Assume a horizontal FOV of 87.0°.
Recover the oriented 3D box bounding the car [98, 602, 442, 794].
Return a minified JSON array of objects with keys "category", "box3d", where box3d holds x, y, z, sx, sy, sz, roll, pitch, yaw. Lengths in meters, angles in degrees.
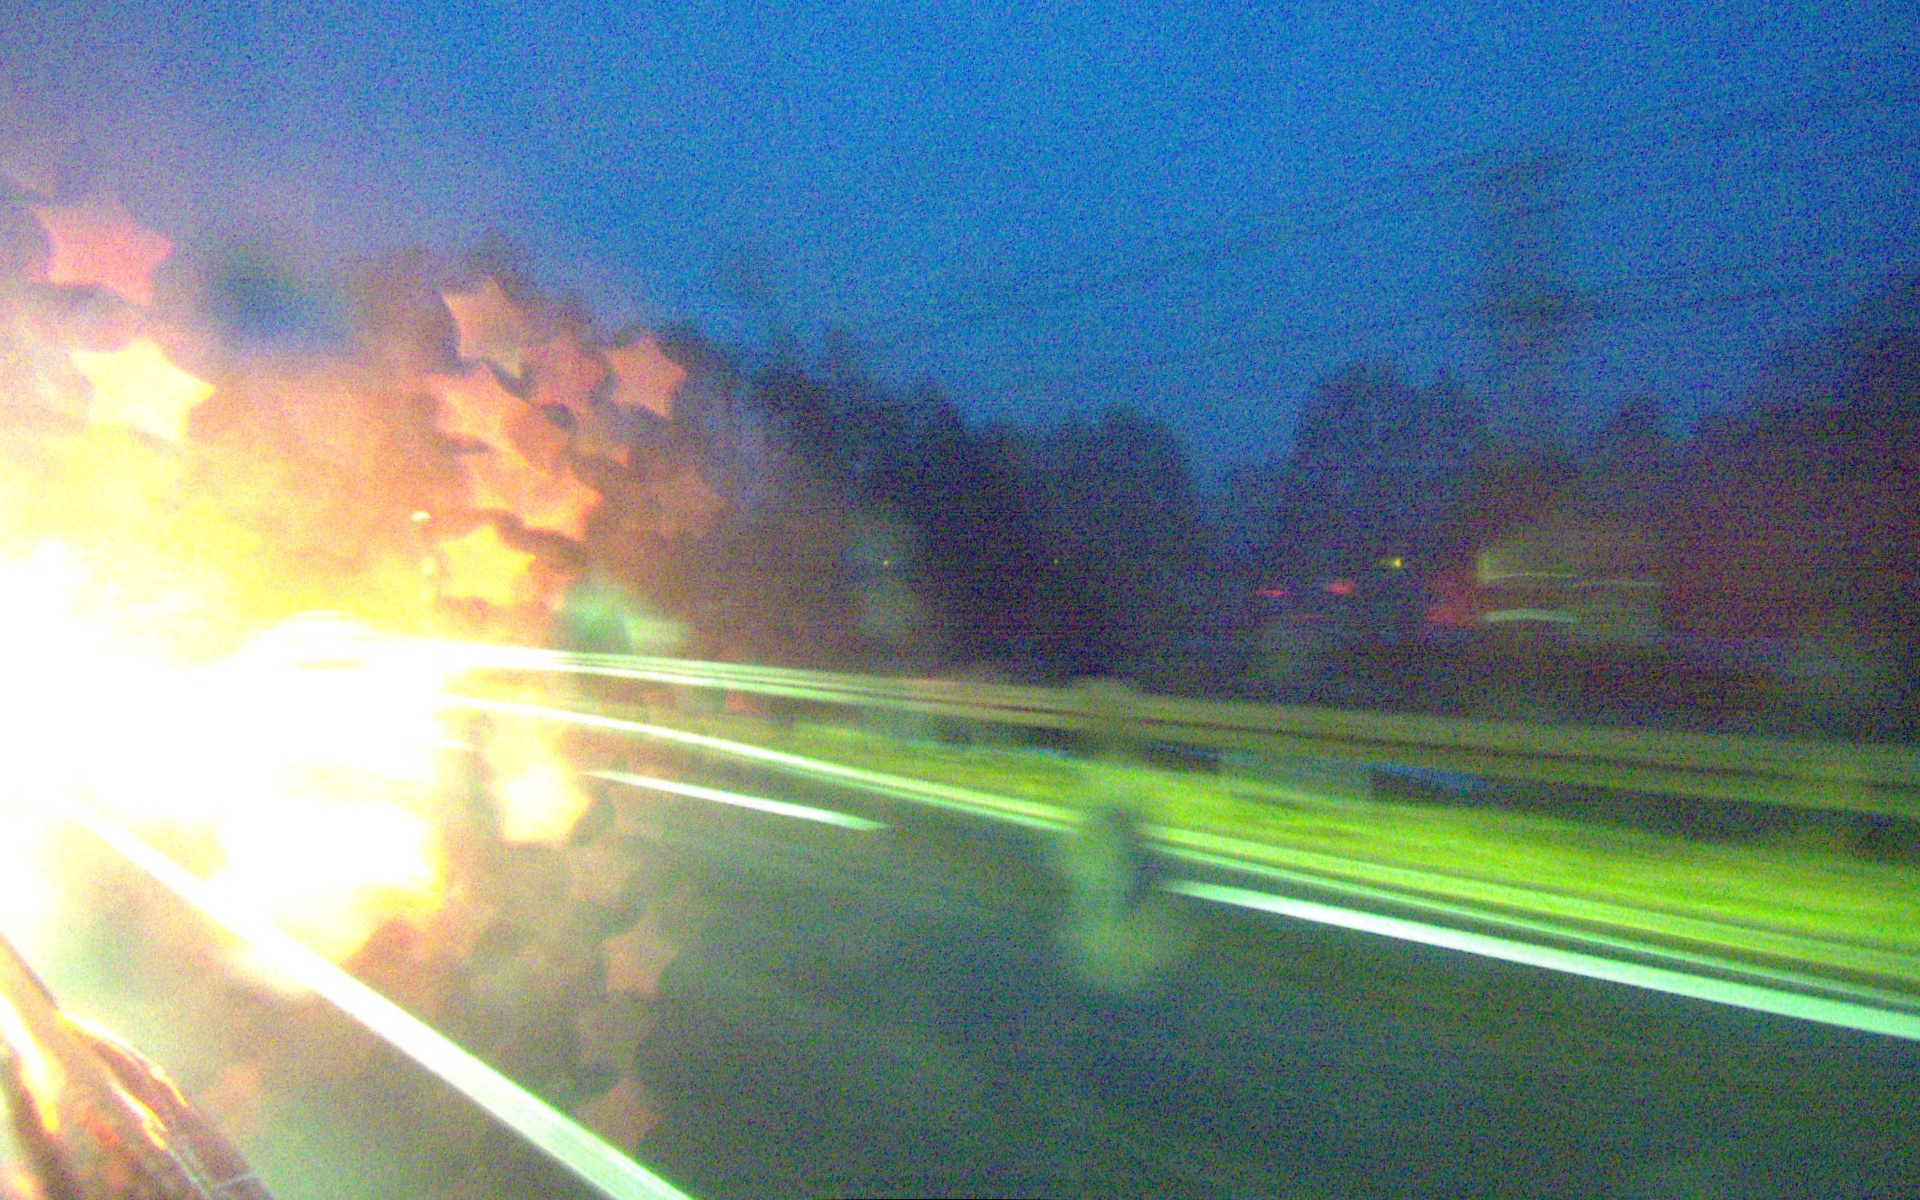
[{"category":"car","box3d":[-6.750,0.813,9.752,4.037,1.478,1.684,-2,-2,40]}]
